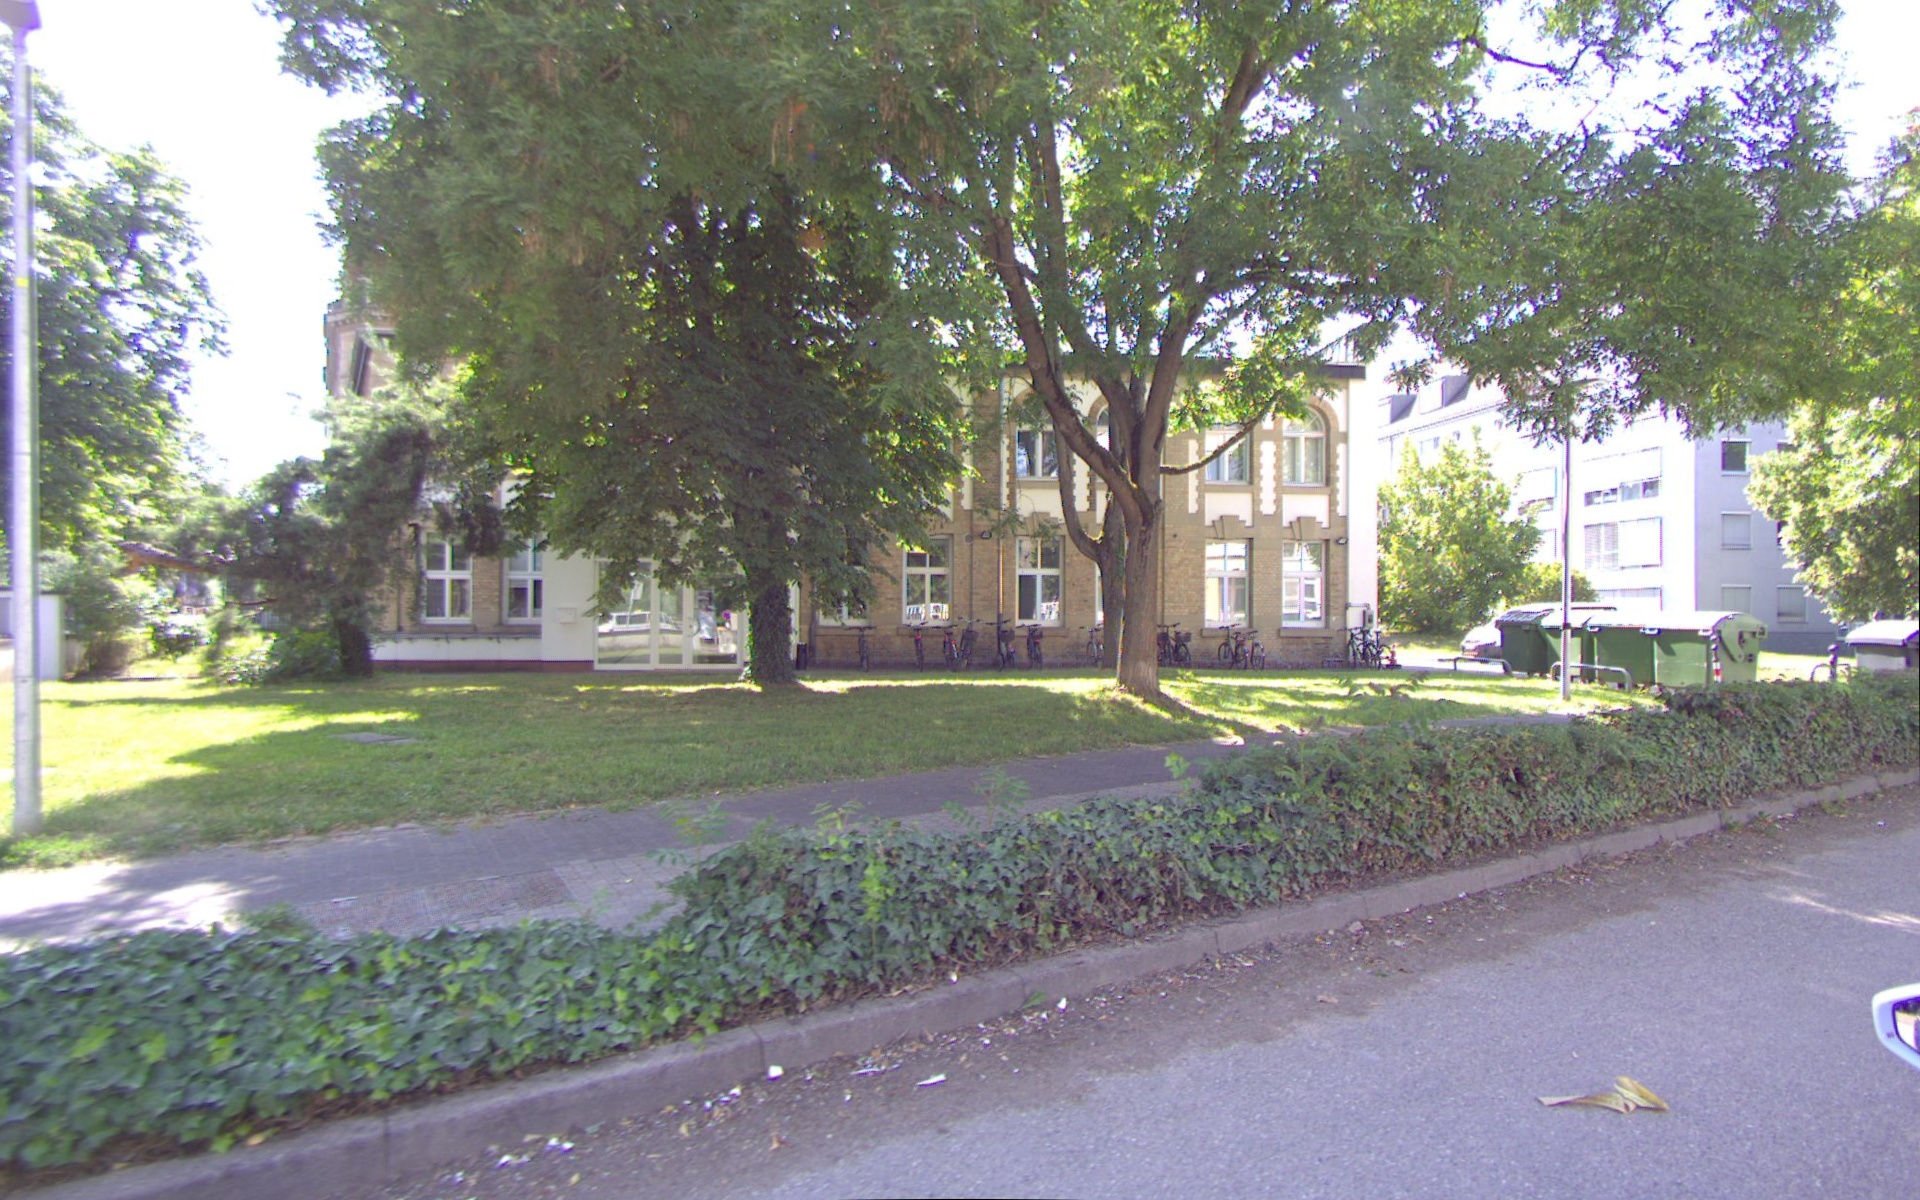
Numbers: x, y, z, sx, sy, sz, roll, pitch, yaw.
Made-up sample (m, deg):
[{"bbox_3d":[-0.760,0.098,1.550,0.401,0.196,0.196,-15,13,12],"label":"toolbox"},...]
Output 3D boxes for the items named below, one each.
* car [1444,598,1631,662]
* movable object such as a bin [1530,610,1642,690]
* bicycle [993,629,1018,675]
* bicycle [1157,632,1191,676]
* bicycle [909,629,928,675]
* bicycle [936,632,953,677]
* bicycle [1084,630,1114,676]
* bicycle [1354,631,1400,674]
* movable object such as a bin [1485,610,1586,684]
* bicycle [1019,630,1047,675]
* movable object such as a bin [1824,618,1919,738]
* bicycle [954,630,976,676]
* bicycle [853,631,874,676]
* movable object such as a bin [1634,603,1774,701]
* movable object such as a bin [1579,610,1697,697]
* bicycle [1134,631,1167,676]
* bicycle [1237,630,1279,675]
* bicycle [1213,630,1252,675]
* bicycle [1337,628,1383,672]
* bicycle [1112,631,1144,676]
[{"bbox_3d":[18.433,0.957,32.195,4.944,1.959,1.999,0,-1,-4],"label":"car"},{"bbox_3d":[11.807,0.923,18.992,1.225,1.450,1.365,0,-1,-6],"label":"movable object such as a bin"},{"bbox_3d":[1.073,1.218,23.819,0.437,1.005,1.540,-1,0,-2],"label":"bicycle"},{"bbox_3d":[5.179,1.292,24.373,0.437,1.005,1.540,-1,0,-2],"label":"bicycle"},{"bbox_3d":[-0.975,1.205,23.622,0.437,1.005,1.540,-1,0,-2],"label":"bicycle"},{"bbox_3d":[-0.368,1.280,23.748,0.367,1.002,1.599,0,-1,-2],"label":"bicycle"},{"bbox_3d":[3.325,1.253,24.106,0.437,1.005,1.540,-1,0,-2],"label":"bicycle"},{"bbox_3d":[10.388,1.298,25.061,0.437,1.005,1.540,-1,0,-2],"label":"bicycle"},{"bbox_3d":[11.717,0.943,20.500,1.225,1.450,1.349,0,-1,-6],"label":"movable object such as a bin"},{"bbox_3d":[1.724,1.235,23.985,0.437,1.005,1.540,-1,0,-4],"label":"bicycle"},{"bbox_3d":[11.933,0.936,12.523,1.223,1.415,1.405,0,-1,13],"label":"movable object such as a bin"},{"bbox_3d":[0.104,1.242,23.798,0.437,1.005,1.540,-1,0,-2],"label":"bicycle"},{"bbox_3d":[-2.268,1.244,23.548,0.437,1.005,1.539,1,-2,-7],"label":"bicycle"},{"bbox_3d":[11.963,0.815,16.201,1.226,1.501,1.336,0,-1,-11],"label":"movable object such as a bin"},{"bbox_3d":[11.864,0.914,17.604,1.228,1.450,1.219,0,-1,-16],"label":"movable object such as a bin"},{"bbox_3d":[4.591,1.282,24.315,0.437,1.005,1.540,-1,0,-2],"label":"bicycle"},{"bbox_3d":[7.241,1.258,24.450,0.437,1.005,1.685,-1,0,-2],"label":"bicycle"},{"bbox_3d":[6.623,1.263,24.473,0.437,1.005,1.666,-1,0,-2],"label":"bicycle"},{"bbox_3d":[9.916,1.225,24.961,0.437,1.005,1.630,-1,0,-2],"label":"bicycle"},{"bbox_3d":[4.050,1.263,24.262,0.437,1.005,1.540,-1,0,-2],"label":"bicycle"}]
